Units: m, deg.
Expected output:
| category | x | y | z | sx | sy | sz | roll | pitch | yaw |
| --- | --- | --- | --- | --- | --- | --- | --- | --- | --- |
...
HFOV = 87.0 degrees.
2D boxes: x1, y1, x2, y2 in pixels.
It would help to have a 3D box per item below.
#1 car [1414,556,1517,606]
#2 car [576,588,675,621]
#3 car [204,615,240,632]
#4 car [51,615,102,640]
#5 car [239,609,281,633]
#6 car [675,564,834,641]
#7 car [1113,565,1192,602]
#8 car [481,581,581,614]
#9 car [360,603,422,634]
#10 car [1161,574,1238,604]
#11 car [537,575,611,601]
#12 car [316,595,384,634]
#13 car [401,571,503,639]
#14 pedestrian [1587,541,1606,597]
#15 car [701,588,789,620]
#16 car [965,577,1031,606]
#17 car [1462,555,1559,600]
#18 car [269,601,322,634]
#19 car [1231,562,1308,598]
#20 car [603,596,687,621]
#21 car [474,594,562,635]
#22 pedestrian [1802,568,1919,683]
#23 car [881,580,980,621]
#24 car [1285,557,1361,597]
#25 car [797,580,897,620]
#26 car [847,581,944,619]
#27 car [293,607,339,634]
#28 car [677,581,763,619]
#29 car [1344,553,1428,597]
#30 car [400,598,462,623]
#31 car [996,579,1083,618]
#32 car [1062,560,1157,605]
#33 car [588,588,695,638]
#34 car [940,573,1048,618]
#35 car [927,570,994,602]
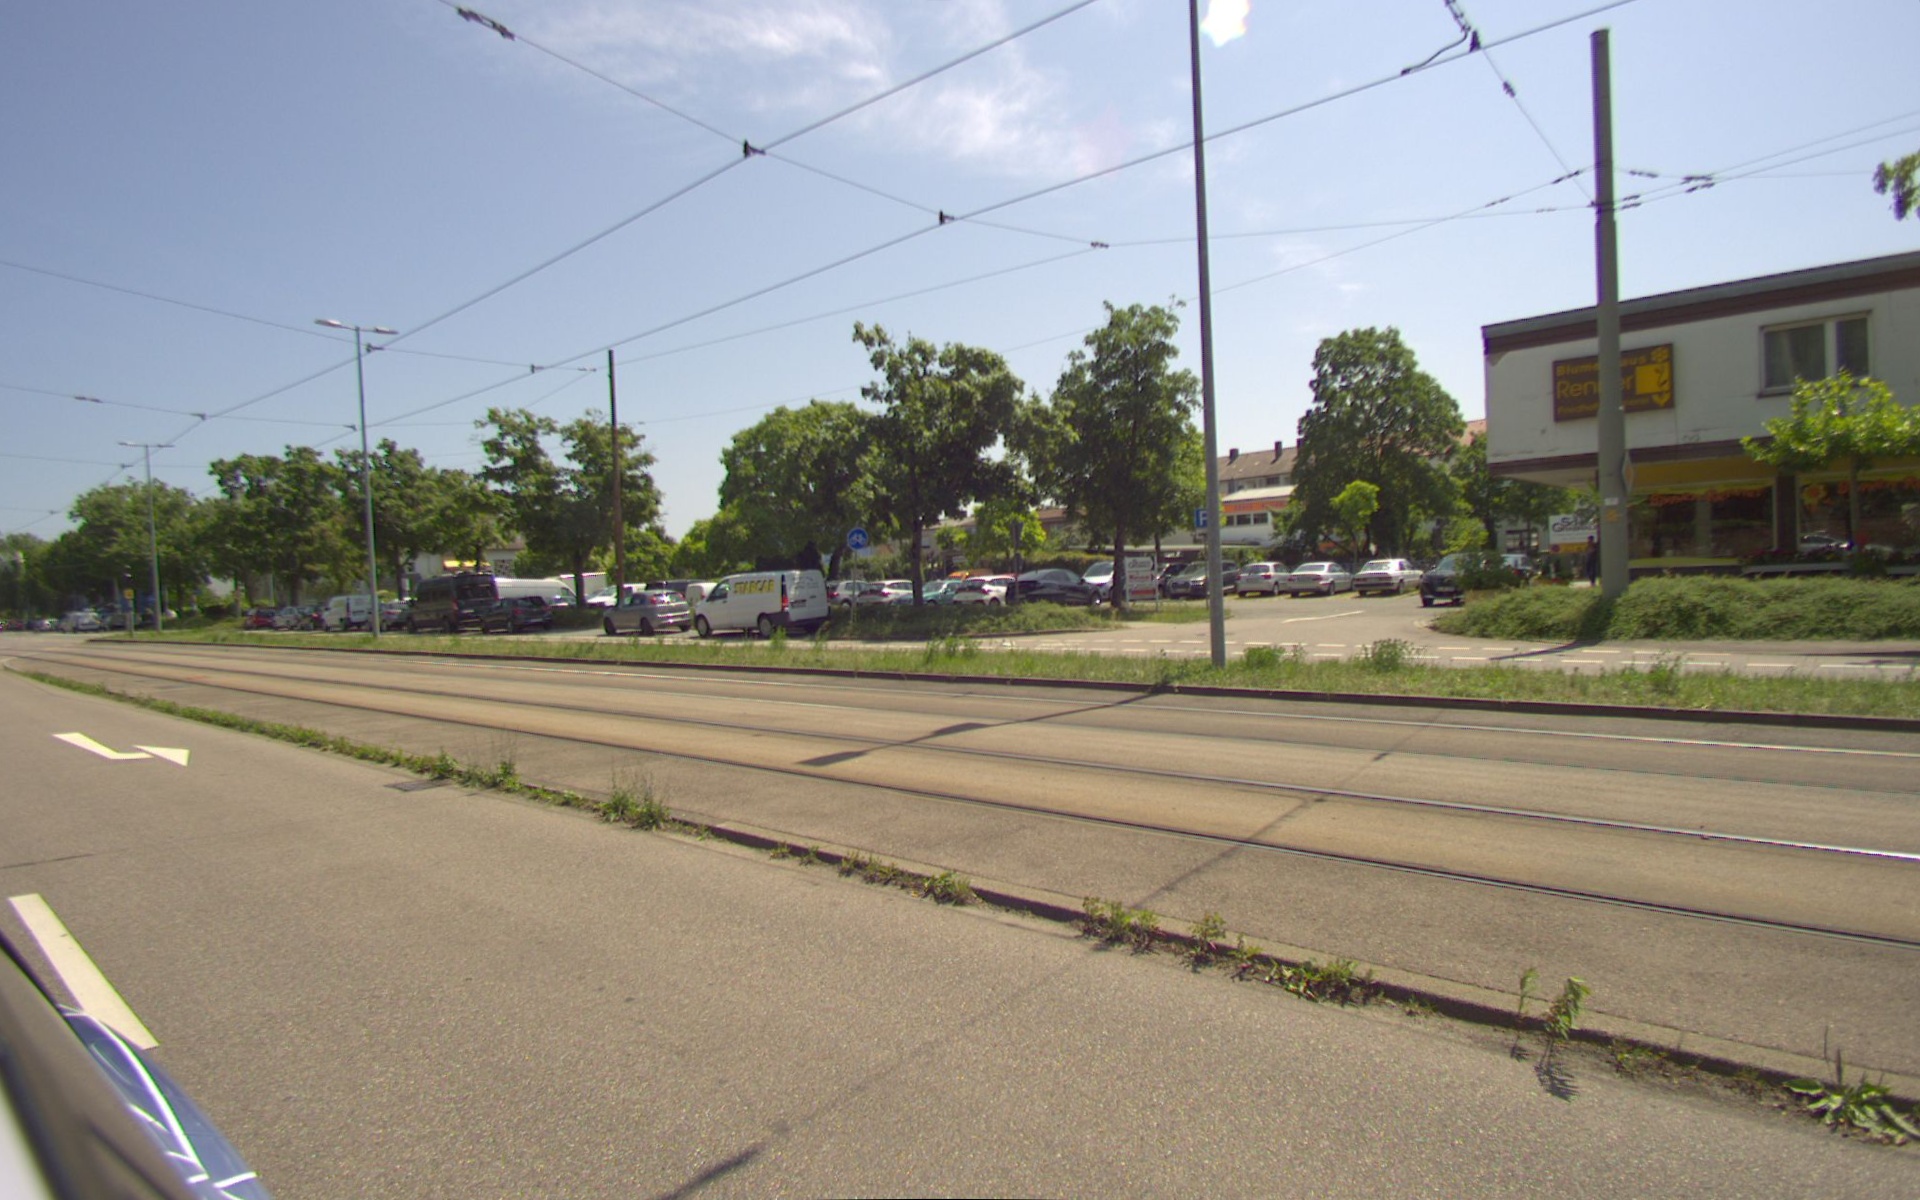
| category | x | y | z | sx | sy | sz | roll | pitch | yaw |
| --- | --- | --- | --- | --- | --- | --- | --- | --- | --- |
| car | 15.231 | -0.579 | 30.404 | 1.682 | 1.306 | 3.944 | -2 | 1 | 43 |
| car | -18.545 | 0.247 | 56.283 | 1.998 | 1.588 | 4.866 | -1 | 1 | 39 |
| car | -54.486 | 1.751 | 74.736 | 3.424 | 1.167 | 1.561 | -1 | 1 | 44 |
| car | -74.389 | 2.322 | 85.226 | 4.193 | 2.005 | 1.805 | -1 | 1 | 27 |
| car | -45.862 | 1.366 | 66.307 | 3.424 | 1.491 | 1.561 | -1 | 1 | 44 |
| car | -6.370 | 0.087 | 30.944 | 5.343 | 2.025 | 1.856 | -1 | 4 | 43 |
| car | 9.126 | -0.766 | 47.865 | 1.804 | 1.669 | 3.943 | -1 | 1 | 44 |
| car | -26.813 | -0.182 | 63.419 | 2.029 | 1.970 | 5.362 | -1 | 1 | 43 |
| car | -28.894 | 0.919 | 51.364 | 3.608 | 1.475 | 1.744 | -1 | 1 | 43 |
| car | 10.830 | -0.519 | 45.695 | 1.765 | 1.294 | 3.675 | -1 | 1 | 43 |
| car | -33.128 | -1.061 | 87.061 | 2.145 | 2.078 | 5.673 | -1 | 1 | 39 |
| car | -33.308 | 0.772 | 55.209 | 4.817 | 1.963 | 1.899 | -1 | 1 | 43 |
| car | -23.066 | 0.213 | 45.820 | 5.667 | 2.859 | 2.214 | -1 | 1 | 42 |
| pedestrian | 21.058 | -1.027 | 33.478 | 0.471 | 1.812 | 0.482 | -1 | 0 | 41 |
| car | -10.362 | 0.181 | 49.033 | 1.795 | 1.417 | 3.950 | -2 | 0 | 37 |
| car | 2.107 | -0.492 | 55.272 | 1.713 | 1.505 | 3.952 | -1 | 1 | 36 |
| car | 19.269 | -0.759 | 35.326 | 2.000 | 1.432 | 4.086 | -1 | 0 | 43 |
| car | -40.850 | 1.057 | 62.177 | 4.495 | 1.907 | 1.614 | -1 | 1 | 42 |
| car | 13.716 | -0.890 | 44.680 | 1.661 | 1.531 | 3.943 | -1 | 1 | 44 |
| car | -16.737 | 0.429 | 53.931 | 1.732 | 1.152 | 3.950 | -2 | 1 | 37 |
| car | -18.233 | 0.582 | 41.666 | 3.751 | 1.589 | 1.950 | -1 | 1 | 42 |
| pedestrian | 17.913 | 0.429 | 18.364 | 3.998 | 2.029 | 1.973 | -1 | 1 | 41 |
| car | -1.110 | 0.000 | 39.929 | 1.908 | 1.501 | 3.994 | -1 | 1 | 34 |
| car | 15.301 | -0.965 | 42.543 | 1.520 | 1.591 | 3.943 | -1 | 1 | 44 |
| car | -4.760 | -0.003 | 43.151 | 2.019 | 1.500 | 4.116 | -2 | 1 | 34 |
| car | -2.621 | -0.019 | 41.942 | 1.856 | 1.501 | 4.099 | -1 | 1 | 34 |
| car | -37.579 | 1.184 | 59.064 | 3.262 | 1.489 | 1.410 | -1 | 1 | 42 |
| car | -12.072 | -0.010 | 51.126 | 1.795 | 1.730 | 3.950 | -2 | 1 | 37 |
| car | 17.094 | -0.986 | 40.512 | 1.804 | 1.669 | 3.943 | -1 | 1 | 44 |
| car | -41.512 | 0.799 | 79.536 | 1.712 | 1.888 | 3.952 | -1 | 1 | 35 |
| car | 2.919 | -0.078 | 36.564 | 1.639 | 1.241 | 3.385 | -2 | 1 | 34 |
| car | 7.362 | -0.873 | 49.533 | 2.225 | 2.085 | 5.054 | -1 | 1 | 41 |
| car | -11.127 | 0.444 | 35.225 | 4.125 | 1.513 | 1.633 | -1 | 4 | 42 |
| car | 1.369 | -0.192 | 38.707 | 1.983 | 1.500 | 4.119 | -2 | 1 | 40 |
| car | 0.069 | -0.777 | 56.410 | 1.689 | 1.665 | 4.081 | -2 | 1 | 35 |
